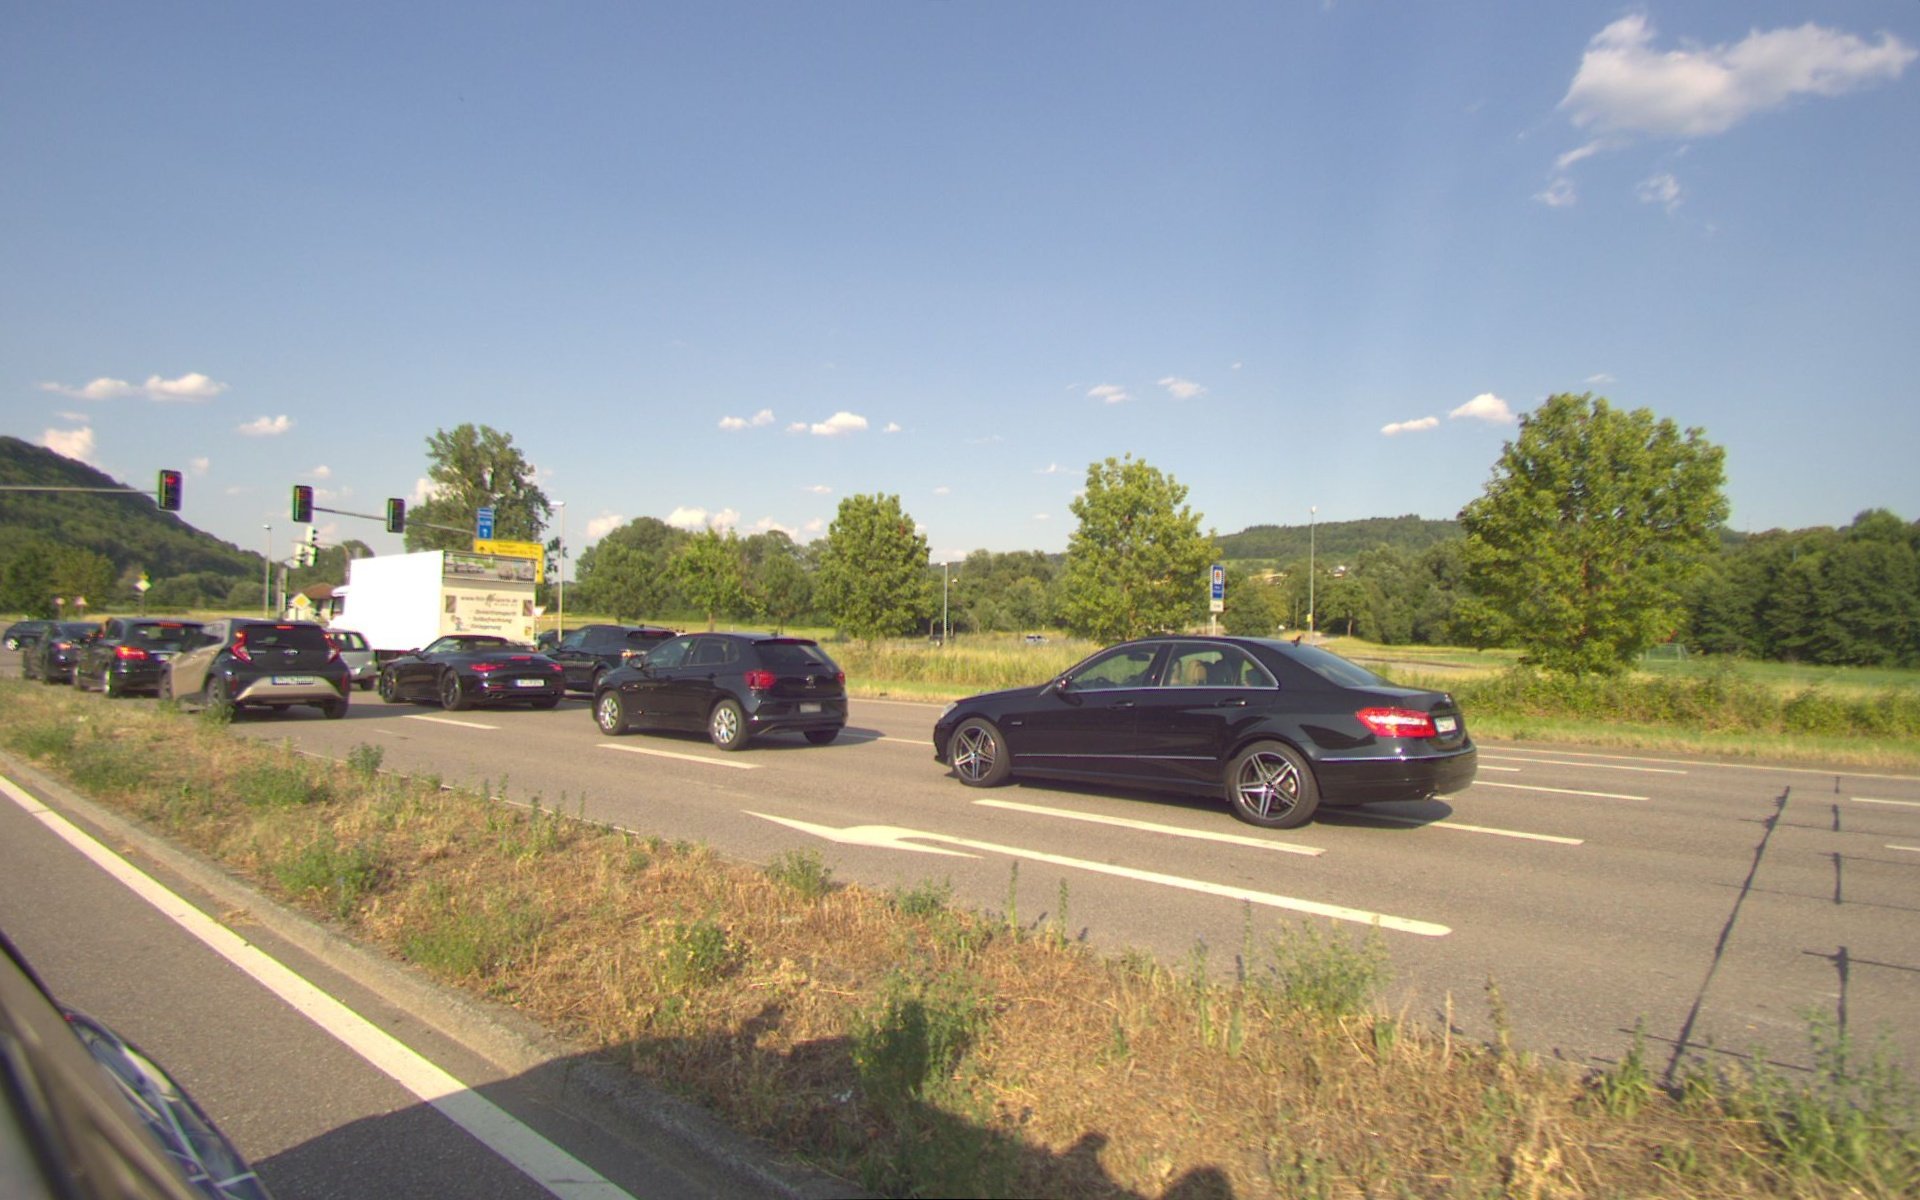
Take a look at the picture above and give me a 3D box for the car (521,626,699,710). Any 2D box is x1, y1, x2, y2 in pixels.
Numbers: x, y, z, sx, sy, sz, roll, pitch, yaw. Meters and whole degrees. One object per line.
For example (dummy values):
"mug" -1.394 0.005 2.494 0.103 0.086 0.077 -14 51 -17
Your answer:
"car" -7.450 1.383 21.389 3.998 1.541 1.744 0 -3 41

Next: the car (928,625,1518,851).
"car" 2.047 0.990 8.838 4.723 1.475 1.697 -1 -4 41

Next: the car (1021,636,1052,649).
"car" 8.529 4.690 112.679 1.765 1.378 3.704 0 -2 36

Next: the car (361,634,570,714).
"car" -9.336 1.310 18.909 4.815 1.293 1.685 -1 -3 40

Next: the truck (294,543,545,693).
"truck" -16.095 0.501 29.577 10.496 3.718 2.901 0 -3 42

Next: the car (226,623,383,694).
"car" -15.551 1.321 23.886 5.078 1.416 1.684 0 -2 40

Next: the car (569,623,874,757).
"car" -3.258 1.089 13.409 4.241 1.485 1.685 -1 -4 40

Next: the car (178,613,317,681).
"car" -19.883 1.247 28.170 4.803 1.691 1.973 0 -2 40

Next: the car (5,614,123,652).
"car" -41.501 1.510 46.939 1.618 1.586 3.943 0 1 43

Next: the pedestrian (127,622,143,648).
"pedestrian" -53.809 2.274 66.002 0.645 1.618 0.839 0 0 -28

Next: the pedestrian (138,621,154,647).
"pedestrian" -52.822 2.217 65.714 0.645 1.618 0.892 0 0 -28

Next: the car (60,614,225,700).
"car" -16.569 1.140 20.429 4.568 1.550 1.762 -3 -4 41

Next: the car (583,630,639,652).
"car" -26.803 3.135 77.883 1.763 1.431 3.835 0 1 34

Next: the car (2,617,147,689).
"car" -21.119 1.190 24.064 4.924 1.477 1.772 0 -1 39

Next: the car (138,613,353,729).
"car" -11.180 1.023 15.746 3.998 1.531 1.762 0 -2 41
